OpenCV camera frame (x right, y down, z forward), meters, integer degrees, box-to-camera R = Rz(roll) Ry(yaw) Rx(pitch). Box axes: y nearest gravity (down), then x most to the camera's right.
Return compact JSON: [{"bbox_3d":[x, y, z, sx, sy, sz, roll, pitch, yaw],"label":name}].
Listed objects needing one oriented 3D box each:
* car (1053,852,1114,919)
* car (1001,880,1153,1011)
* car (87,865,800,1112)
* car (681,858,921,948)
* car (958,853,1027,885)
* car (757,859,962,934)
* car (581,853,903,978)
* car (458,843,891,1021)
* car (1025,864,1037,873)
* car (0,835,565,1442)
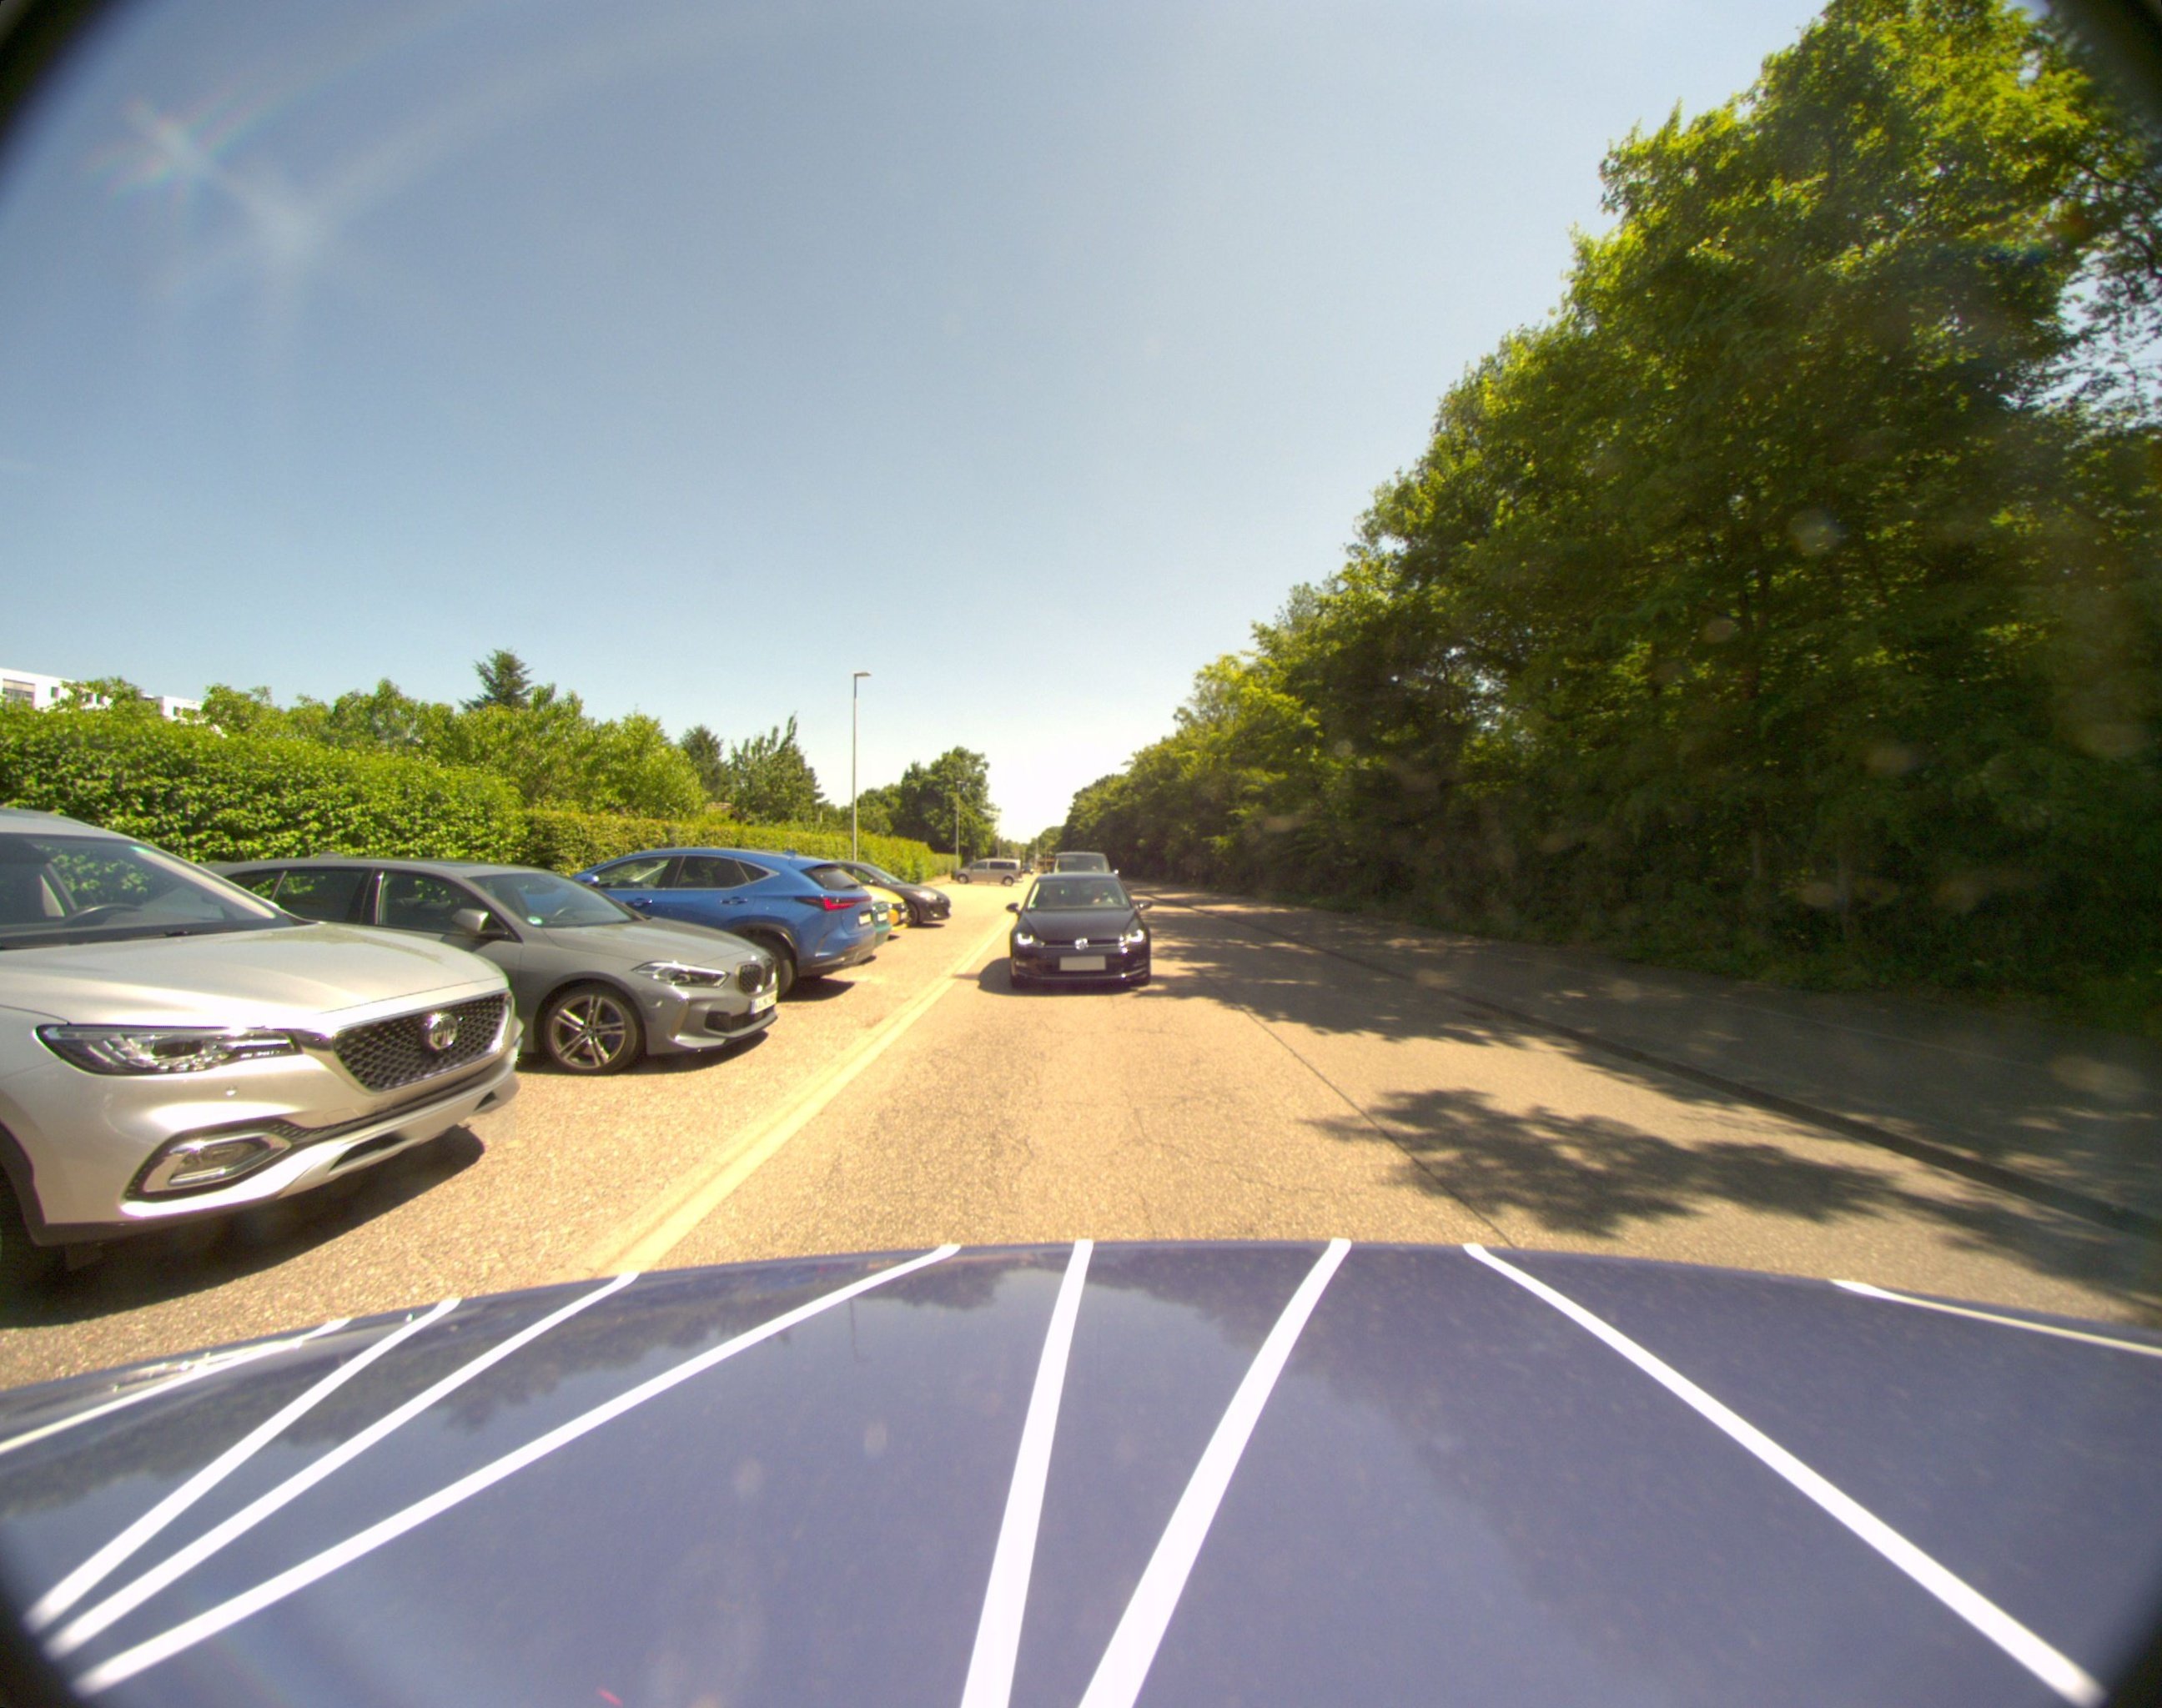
[{"bbox_3d":[0.057,0.933,23.958,1.743,1.904,4.388,0,-1,0],"label":"car"},{"bbox_3d":[-0.066,1.130,10.955,1.743,1.396,4.388,0,-1,0],"label":"car"},{"bbox_3d":[-4.550,0.912,5.906,4.036,1.401,1.680,3,0,-1],"label":"car"},{"bbox_3d":[-5.384,0.917,14.953,4.036,1.438,1.649,3,0,0],"label":"car"},{"bbox_3d":[-5.957,1.027,51.487,4.493,1.840,1.695,4,0,-4],"label":"car"},{"bbox_3d":[-5.098,0.957,17.862,4.251,1.410,1.649,3,0,0],"label":"car"},{"bbox_3d":[-4.938,0.863,11.463,4.036,1.505,1.649,3,0,0],"label":"car"},{"bbox_3d":[-4.474,0.823,8.805,4.036,1.632,1.674,3,0,0],"label":"car"},{"bbox_3d":[-7.716,2.177,116.103,1.744,1.396,4.387,1,-1,-4],"label":"car"},{"bbox_3d":[-4.793,0.757,3.008,4.170,1.632,1.776,3,0,-2],"label":"car"}]
